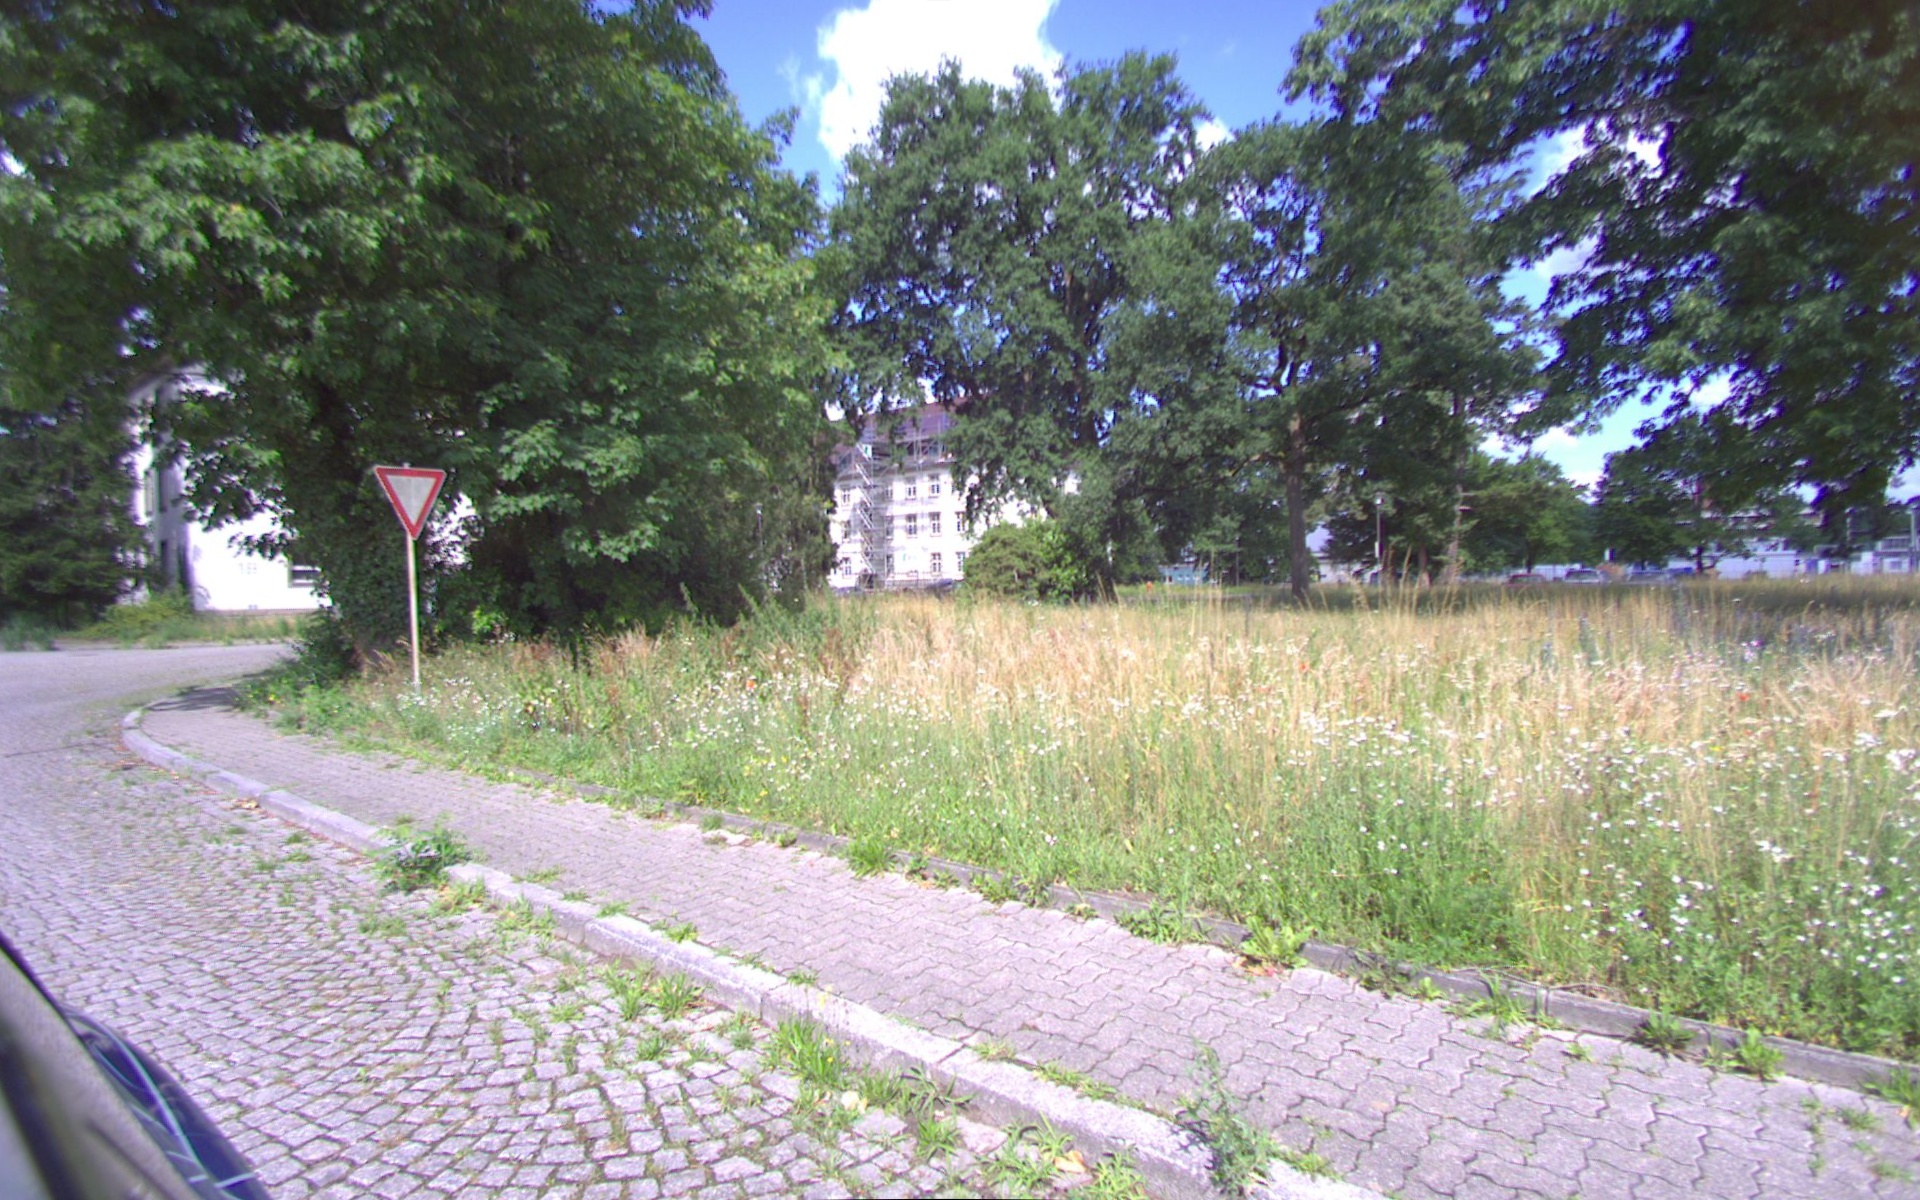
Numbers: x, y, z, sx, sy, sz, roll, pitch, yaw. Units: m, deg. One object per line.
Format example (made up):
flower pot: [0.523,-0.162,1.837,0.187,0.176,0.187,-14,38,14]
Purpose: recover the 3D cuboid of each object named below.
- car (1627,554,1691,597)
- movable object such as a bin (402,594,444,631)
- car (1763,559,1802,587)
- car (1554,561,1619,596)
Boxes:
car: [29.585,-1.026,42.809,1.899,1.704,4.018,-1,1,39]
movable object such as a bin: [-22.591,0.524,42.585,1.151,1.542,1.158,-1,0,38]
car: [52.945,-1.723,65.178,1.899,1.715,4.026,-1,1,39]
car: [27.536,-0.927,44.424,1.899,1.423,4.018,-1,1,39]
